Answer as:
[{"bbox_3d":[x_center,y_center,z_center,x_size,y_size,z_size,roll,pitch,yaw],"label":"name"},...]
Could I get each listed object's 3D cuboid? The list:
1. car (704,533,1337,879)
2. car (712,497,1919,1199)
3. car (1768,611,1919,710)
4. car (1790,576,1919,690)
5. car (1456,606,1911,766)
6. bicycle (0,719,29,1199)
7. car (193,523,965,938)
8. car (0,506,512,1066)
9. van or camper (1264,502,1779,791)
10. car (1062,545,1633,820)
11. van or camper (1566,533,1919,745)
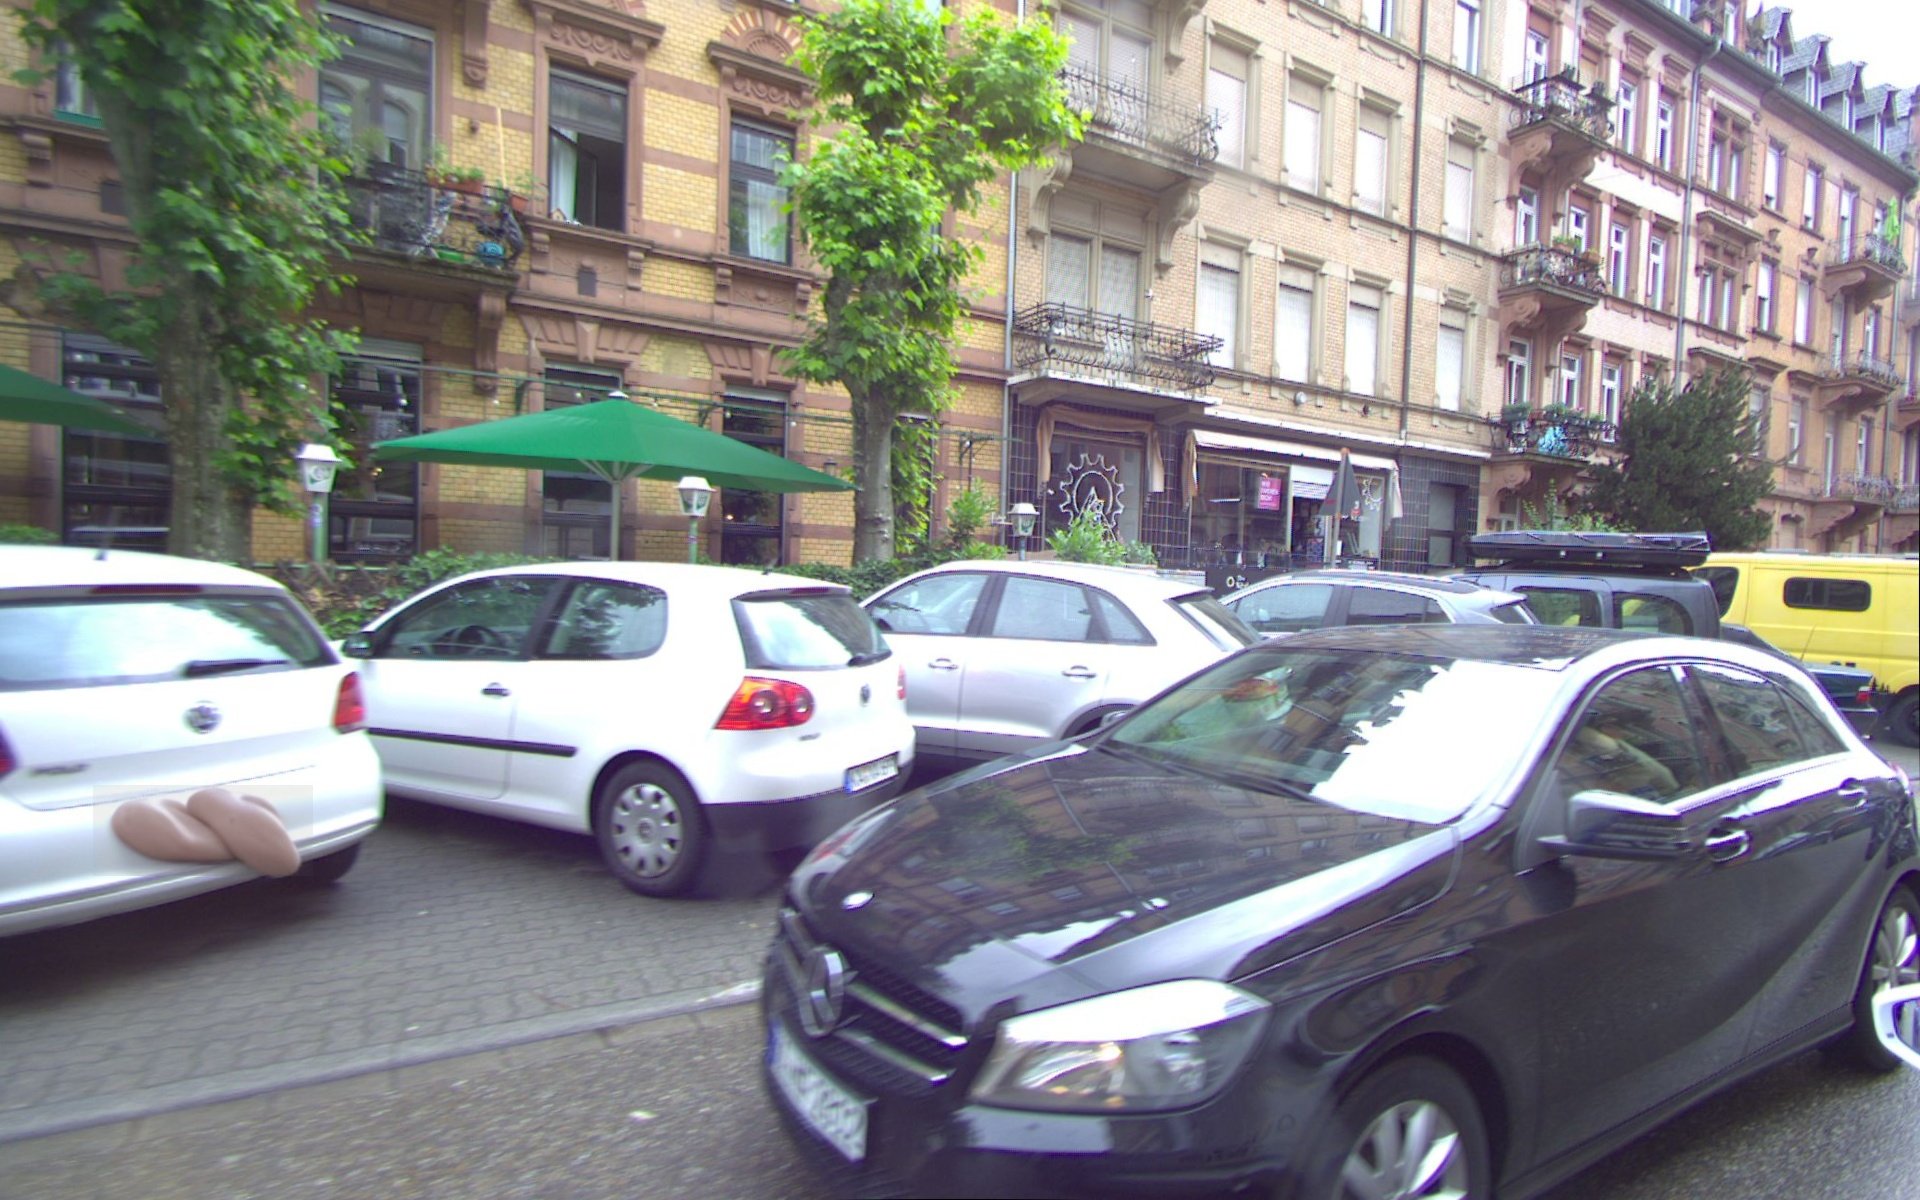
[{"bbox_3d":[0.424,0.531,7.198,4.059,1.684,1.800,5,3,24],"label":"car"},{"bbox_3d":[1.492,0.715,3.284,4.092,1.513,1.786,3,-2,-31],"label":"car"},{"bbox_3d":[15.645,1.000,16.101,3.930,1.455,1.780,3,1,31],"label":"car"},{"bbox_3d":[19.471,0.708,19.321,5.167,2.106,1.864,3,1,36],"label":"car"},{"bbox_3d":[7.867,0.840,11.438,3.927,1.515,1.824,0,0,28],"label":"car"},{"bbox_3d":[-2.489,0.827,0.944,2.244,1.196,0.766,0,1,-32],"label":"bicycle"},{"bbox_3d":[-2.232,0.485,5.828,4.060,1.513,1.800,5,2,25],"label":"car"},{"bbox_3d":[-4.532,0.387,4.616,4.637,1.584,1.997,5,4,26],"label":"car"},{"bbox_3d":[5.411,0.312,10.200,4.009,2.269,1.934,5,2,28],"label":"van or camper"},{"bbox_3d":[3.158,0.546,8.711,4.059,1.684,1.800,5,2,24],"label":"car"},{"bbox_3d":[10.686,0.416,12.946,4.640,2.299,2.181,4,4,27],"label":"van or camper"}]
